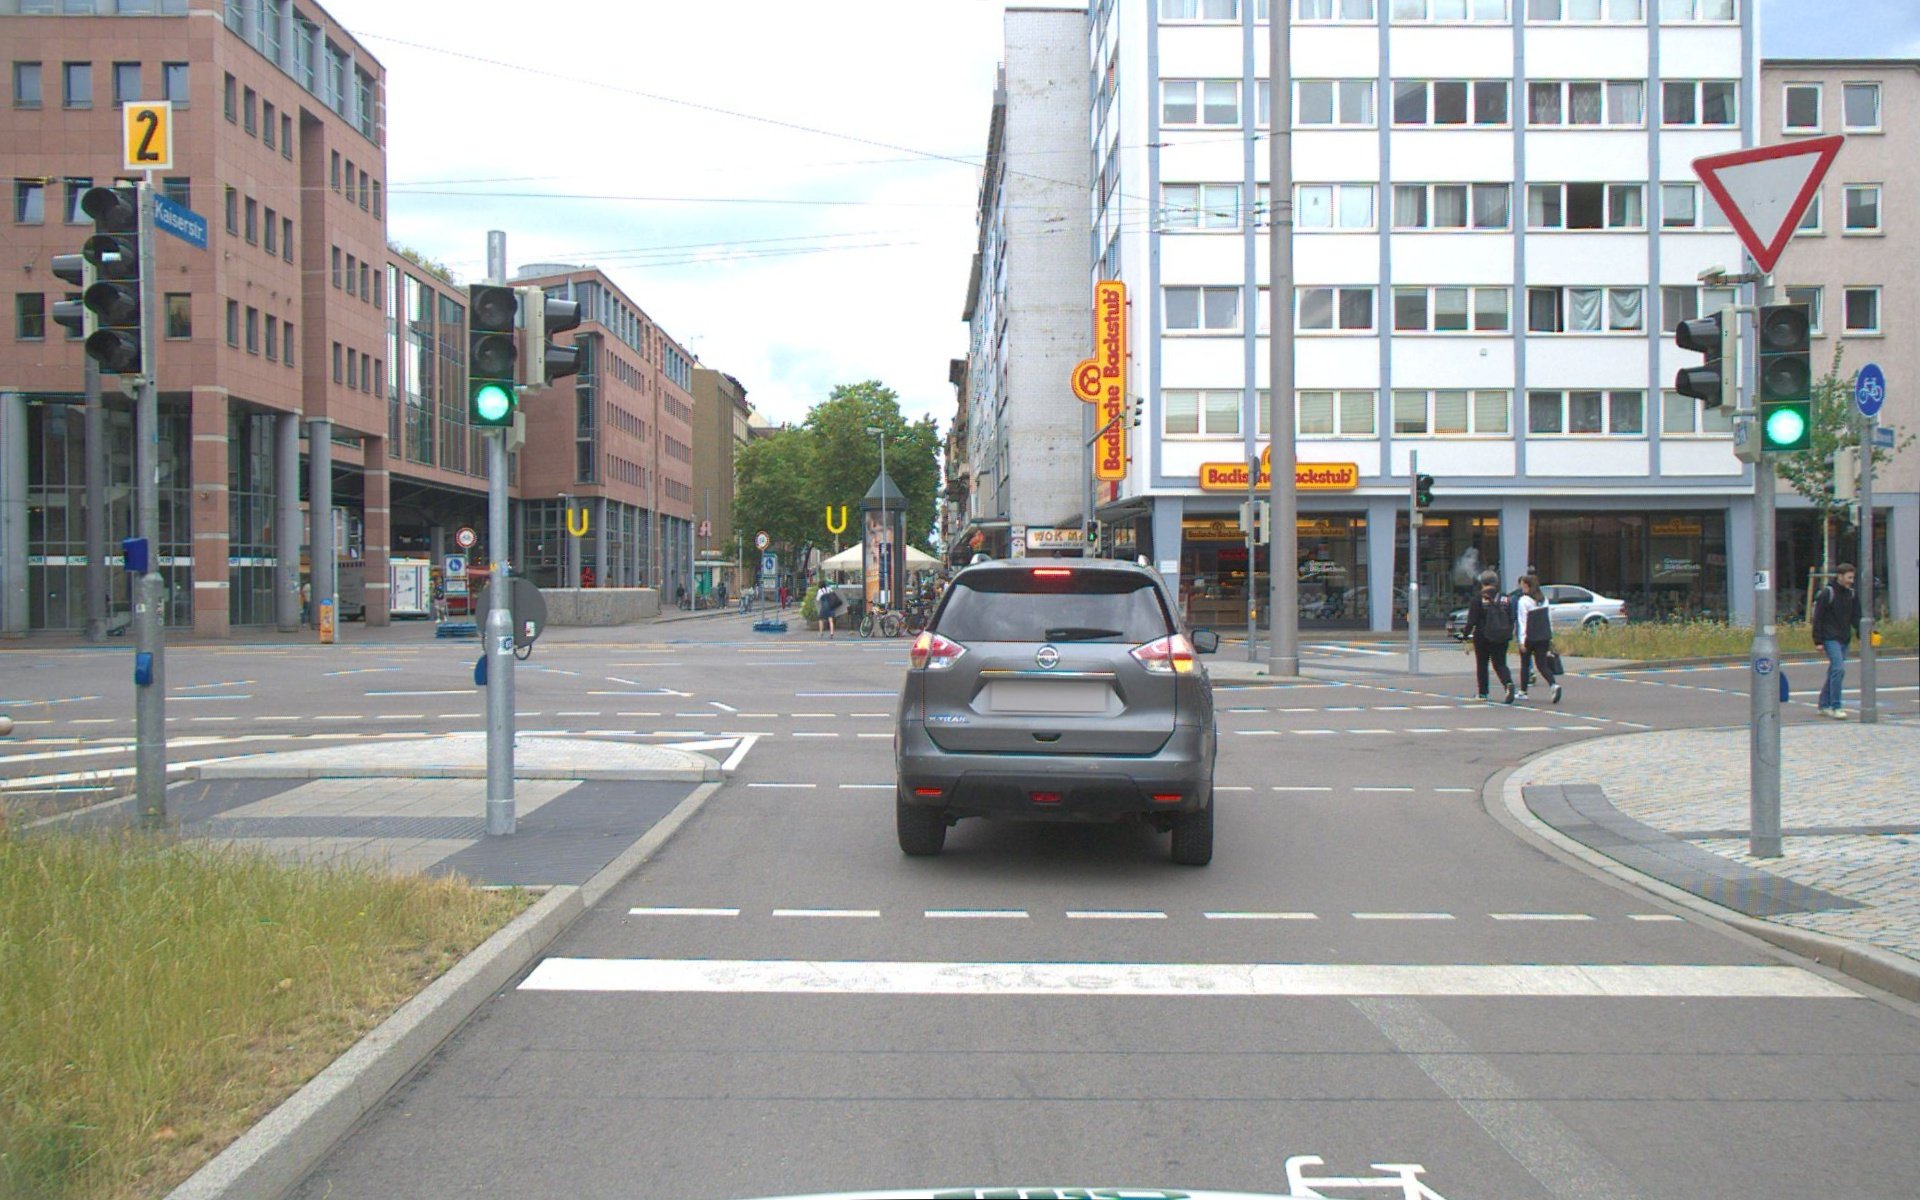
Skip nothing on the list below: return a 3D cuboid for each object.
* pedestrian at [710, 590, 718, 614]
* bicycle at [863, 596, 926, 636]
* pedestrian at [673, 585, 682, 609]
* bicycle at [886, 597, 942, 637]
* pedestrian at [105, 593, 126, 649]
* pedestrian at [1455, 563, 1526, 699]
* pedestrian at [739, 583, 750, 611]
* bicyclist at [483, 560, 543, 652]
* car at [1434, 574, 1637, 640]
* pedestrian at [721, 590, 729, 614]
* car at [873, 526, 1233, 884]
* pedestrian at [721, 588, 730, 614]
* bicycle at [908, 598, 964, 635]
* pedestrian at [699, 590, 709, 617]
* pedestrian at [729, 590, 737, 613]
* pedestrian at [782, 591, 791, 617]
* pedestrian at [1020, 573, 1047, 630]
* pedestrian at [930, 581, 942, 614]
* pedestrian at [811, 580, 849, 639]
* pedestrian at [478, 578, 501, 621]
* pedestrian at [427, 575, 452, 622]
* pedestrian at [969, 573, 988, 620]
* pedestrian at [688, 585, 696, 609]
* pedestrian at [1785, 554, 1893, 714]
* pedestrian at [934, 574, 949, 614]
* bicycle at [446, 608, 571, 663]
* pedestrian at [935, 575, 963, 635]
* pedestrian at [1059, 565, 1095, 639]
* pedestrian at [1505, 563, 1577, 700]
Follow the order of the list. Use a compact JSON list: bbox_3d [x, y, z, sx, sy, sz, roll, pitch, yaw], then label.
[{"bbox_3d":[-17.626,0.134,118.538,0.589,1.744,0.654,0,0,-8],"label":"pedestrian"},{"bbox_3d":[-1.971,0.470,49.695,1.836,1.192,0.529,0,0,-16],"label":"bicycle"},{"bbox_3d":[-20.346,-0.227,119.129,0.589,1.744,0.654,0,0,-8],"label":"pedestrian"},{"bbox_3d":[-1.408,0.522,50.572,1.664,1.192,0.436,0,0,-8],"label":"bicycle"},{"bbox_3d":[-24.018,0.591,47.053,0.442,1.559,0.519,0,0,-19],"label":"pedestrian"},{"bbox_3d":[7.086,0.405,22.100,0.609,1.792,0.778,0,0,-9],"label":"pedestrian"},{"bbox_3d":[-12.285,-0.159,94.170,0.589,1.563,0.654,0,0,-8],"label":"pedestrian"},{"bbox_3d":[-9.090,0.118,33.613,0.861,1.844,0.833,1,0,40],"label":"bicyclist"},{"bbox_3d":[14.367,0.167,41.402,4.462,1.507,1.747,-1,0,-4],"label":"car"},{"bbox_3d":[-17.133,0.146,120.704,0.589,1.744,0.654,0,0,-8],"label":"pedestrian"},{"bbox_3d":[0.746,0.535,10.719,1.823,1.806,4.570,-1,0,7],"label":"car"},{"bbox_3d":[-15.519,0.069,109.417,0.589,1.744,0.654,0,0,-8],"label":"pedestrian"},{"bbox_3d":[-0.717,0.502,49.952,1.660,1.084,0.437,1,0,5],"label":"bicycle"},{"bbox_3d":[-17.068,0.237,110.286,0.589,1.744,0.654,0,0,-8],"label":"pedestrian"},{"bbox_3d":[-17.070,0.114,124.318,0.589,1.744,0.654,0,0,-8],"label":"pedestrian"},{"bbox_3d":[-11.661,0.281,111.097,0.589,1.744,0.654,0,0,-8],"label":"pedestrian"},{"bbox_3d":[2.248,0.040,50.618,0.695,1.734,0.735,1,0,11],"label":"pedestrian"},{"bbox_3d":[-1.244,-0.148,86.843,0.599,1.734,0.619,0,0,0],"label":"pedestrian"},{"bbox_3d":[-3.897,0.275,49.471,0.906,1.734,0.735,1,0,18],"label":"pedestrian"},{"bbox_3d":[-20.522,-0.014,72.129,0.685,1.874,0.735,1,0,18],"label":"pedestrian"},{"bbox_3d":[-21.180,-0.066,67.293,0.685,1.874,0.735,1,0,13],"label":"pedestrian"},{"bbox_3d":[0.737,-0.146,66.888,0.723,1.853,0.662,-1,0,-4],"label":"pedestrian"},{"bbox_3d":[-19.334,-0.219,119.352,0.589,1.744,0.654,0,0,-8],"label":"pedestrian"},{"bbox_3d":[10.868,0.411,20.489,0.786,1.895,1.154,-2,0,9],"label":"pedestrian"},{"bbox_3d":[-0.824,-0.279,72.392,0.630,1.734,0.559,0,0,0],"label":"pedestrian"},{"bbox_3d":[-9.240,0.700,33.728,3.220,1.063,0.899,0,0,43],"label":"bicycle"},{"bbox_3d":[-0.330,0.147,49.615,0.718,1.776,0.662,0,0,-9],"label":"pedestrian"},{"bbox_3d":[2.973,0.047,42.001,0.699,1.864,1.015,0,0,-9],"label":"pedestrian"},{"bbox_3d":[7.788,0.411,22.182,0.609,1.792,0.778,0,0,-9],"label":"pedestrian"}]
